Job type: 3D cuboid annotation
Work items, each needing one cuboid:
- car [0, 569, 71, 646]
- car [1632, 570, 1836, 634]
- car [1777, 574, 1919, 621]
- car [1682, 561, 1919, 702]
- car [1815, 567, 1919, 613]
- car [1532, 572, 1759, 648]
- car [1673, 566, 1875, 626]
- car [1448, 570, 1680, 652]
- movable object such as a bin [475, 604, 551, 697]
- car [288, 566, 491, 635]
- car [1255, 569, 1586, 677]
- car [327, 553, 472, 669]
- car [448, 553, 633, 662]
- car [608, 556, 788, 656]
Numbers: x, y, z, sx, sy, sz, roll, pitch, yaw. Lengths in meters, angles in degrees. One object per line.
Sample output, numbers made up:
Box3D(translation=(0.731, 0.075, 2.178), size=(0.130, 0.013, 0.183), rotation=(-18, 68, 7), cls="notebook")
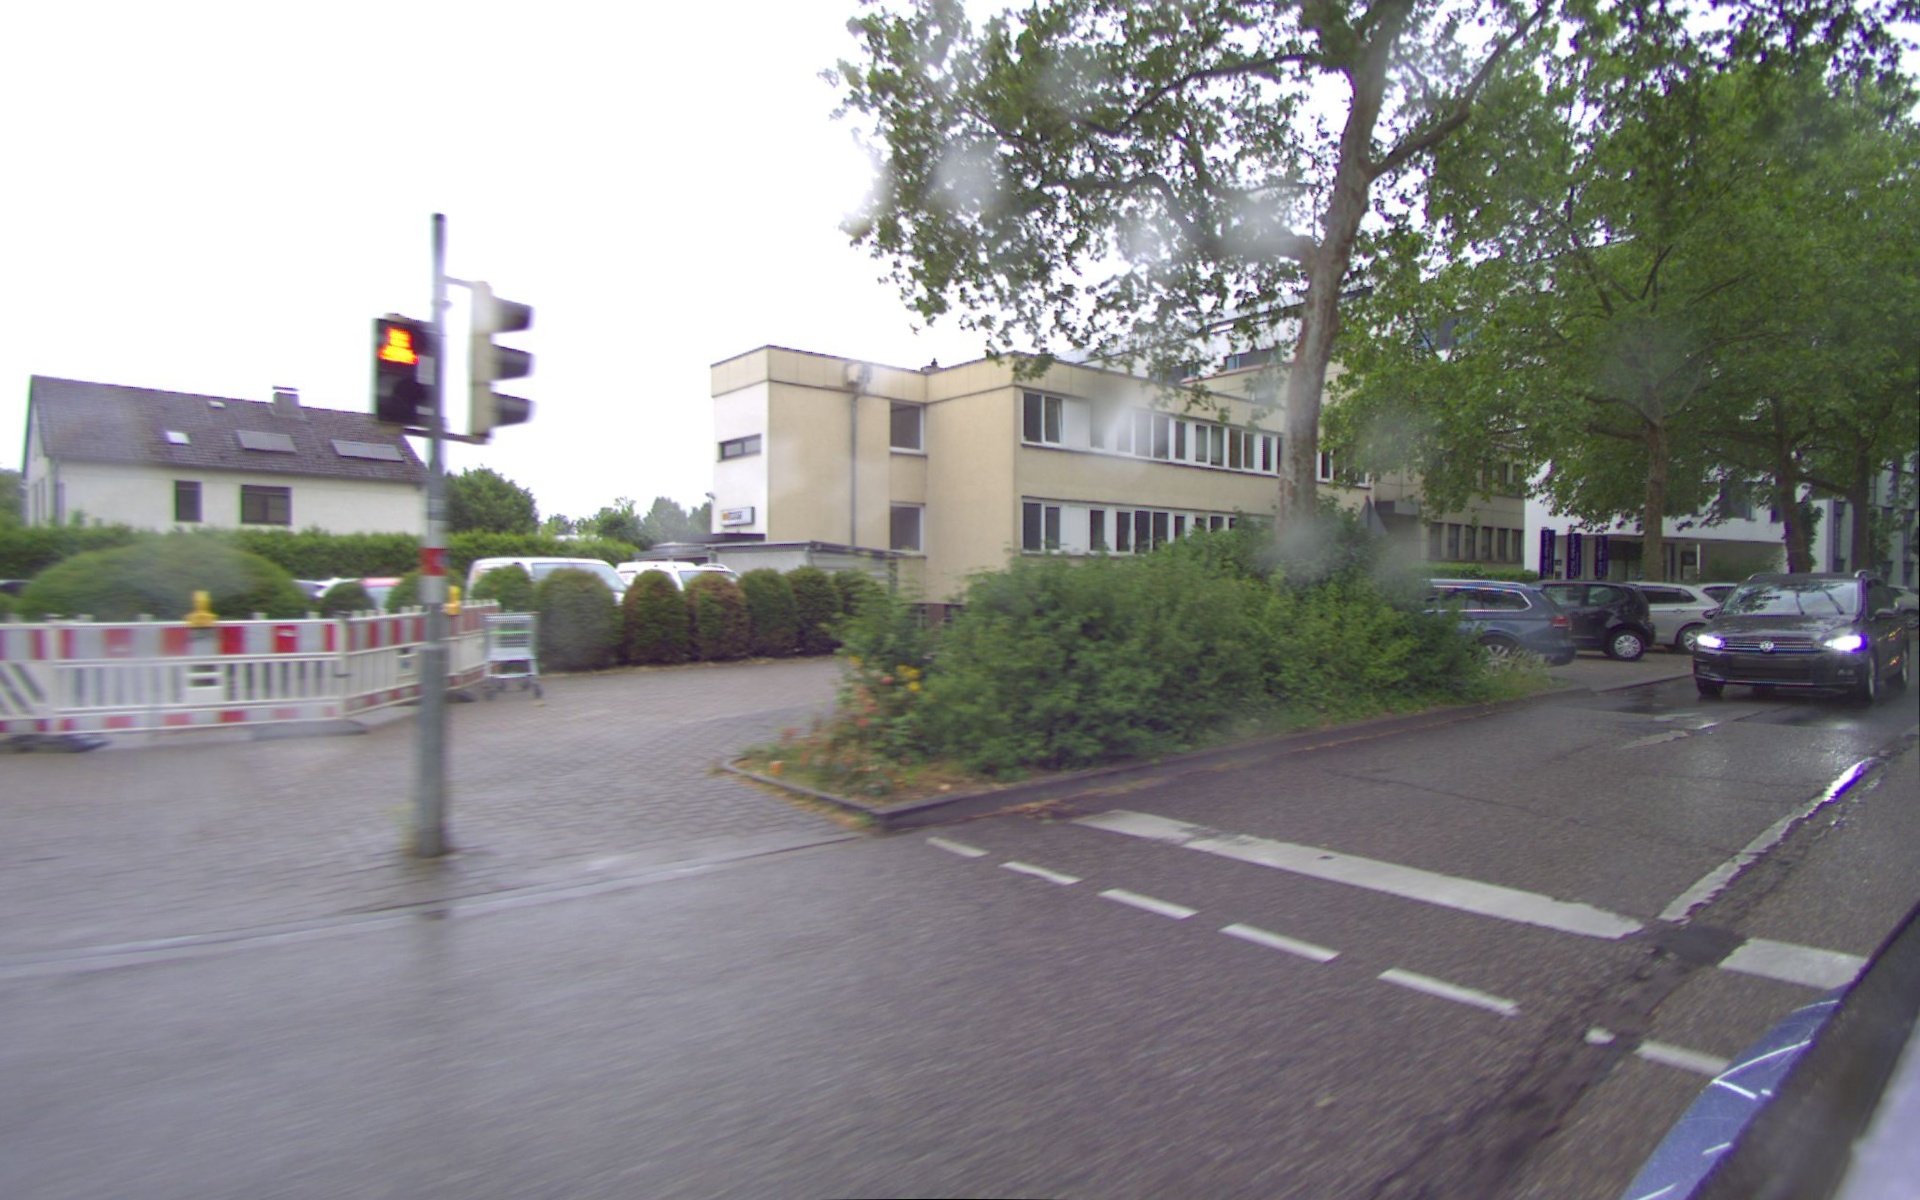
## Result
Box3D(translation=(-20.772, 0.158, 20.591), size=(3.992, 1.551, 1.823), rotation=(-2, 2, -41), cls="car")
Box3D(translation=(18.678, -0.011, 24.642), size=(3.659, 1.434, 1.732), rotation=(1, 2, 28), cls="car")
Box3D(translation=(29.806, -0.102, 33.433), size=(3.995, 1.446, 1.735), rotation=(1, 2, 25), cls="car")
Box3D(translation=(12.027, 0.278, 14.153), size=(5.494, 1.614, 1.997), rotation=(-2, 2, -42), cls="car")
Box3D(translation=(33.128, -0.366, 36.339), size=(3.631, 1.523, 1.723), rotation=(3, 2, 41), cls="car")
Box3D(translation=(14.271, 0.153, 21.330), size=(3.653, 1.434, 1.761), rotation=(1, 2, 24), cls="car")
Box3D(translation=(22.469, -0.152, 28.119), size=(3.992, 1.558, 1.736), rotation=(1, 2, 23), cls="car")
Box3D(translation=(11.576, 0.155, 19.686), size=(3.653, 1.434, 1.735), rotation=(1, 2, 25), cls="car")
Box3D(translation=(-5.302, 0.574, 12.057), size=(0.697, 0.981, 1.077), rotation=(-2, 2, -19), cls="movable object such as a bin")
Box3D(translation=(-14.432, -0.051, 25.744), size=(4.232, 1.610, 1.823), rotation=(-2, 2, -41), cls="car")
Box3D(translation=(7.023, 0.266, 15.785), size=(4.449, 1.477, 1.735), rotation=(1, 2, 25), cls="car")
Box3D(translation=(-9.216, 0.062, 16.516), size=(1.790, 1.609, 4.310), rotation=(-2, 3, -31), cls="car")
Box3D(translation=(-7.881, 0.032, 18.777), size=(1.751, 1.779, 4.543), rotation=(-1, 3, -42), cls="car")
Box3D(translation=(-5.347, 0.022, 20.221), size=(1.718, 1.779, 4.547), rotation=(-1, 2, -40), cls="car")
